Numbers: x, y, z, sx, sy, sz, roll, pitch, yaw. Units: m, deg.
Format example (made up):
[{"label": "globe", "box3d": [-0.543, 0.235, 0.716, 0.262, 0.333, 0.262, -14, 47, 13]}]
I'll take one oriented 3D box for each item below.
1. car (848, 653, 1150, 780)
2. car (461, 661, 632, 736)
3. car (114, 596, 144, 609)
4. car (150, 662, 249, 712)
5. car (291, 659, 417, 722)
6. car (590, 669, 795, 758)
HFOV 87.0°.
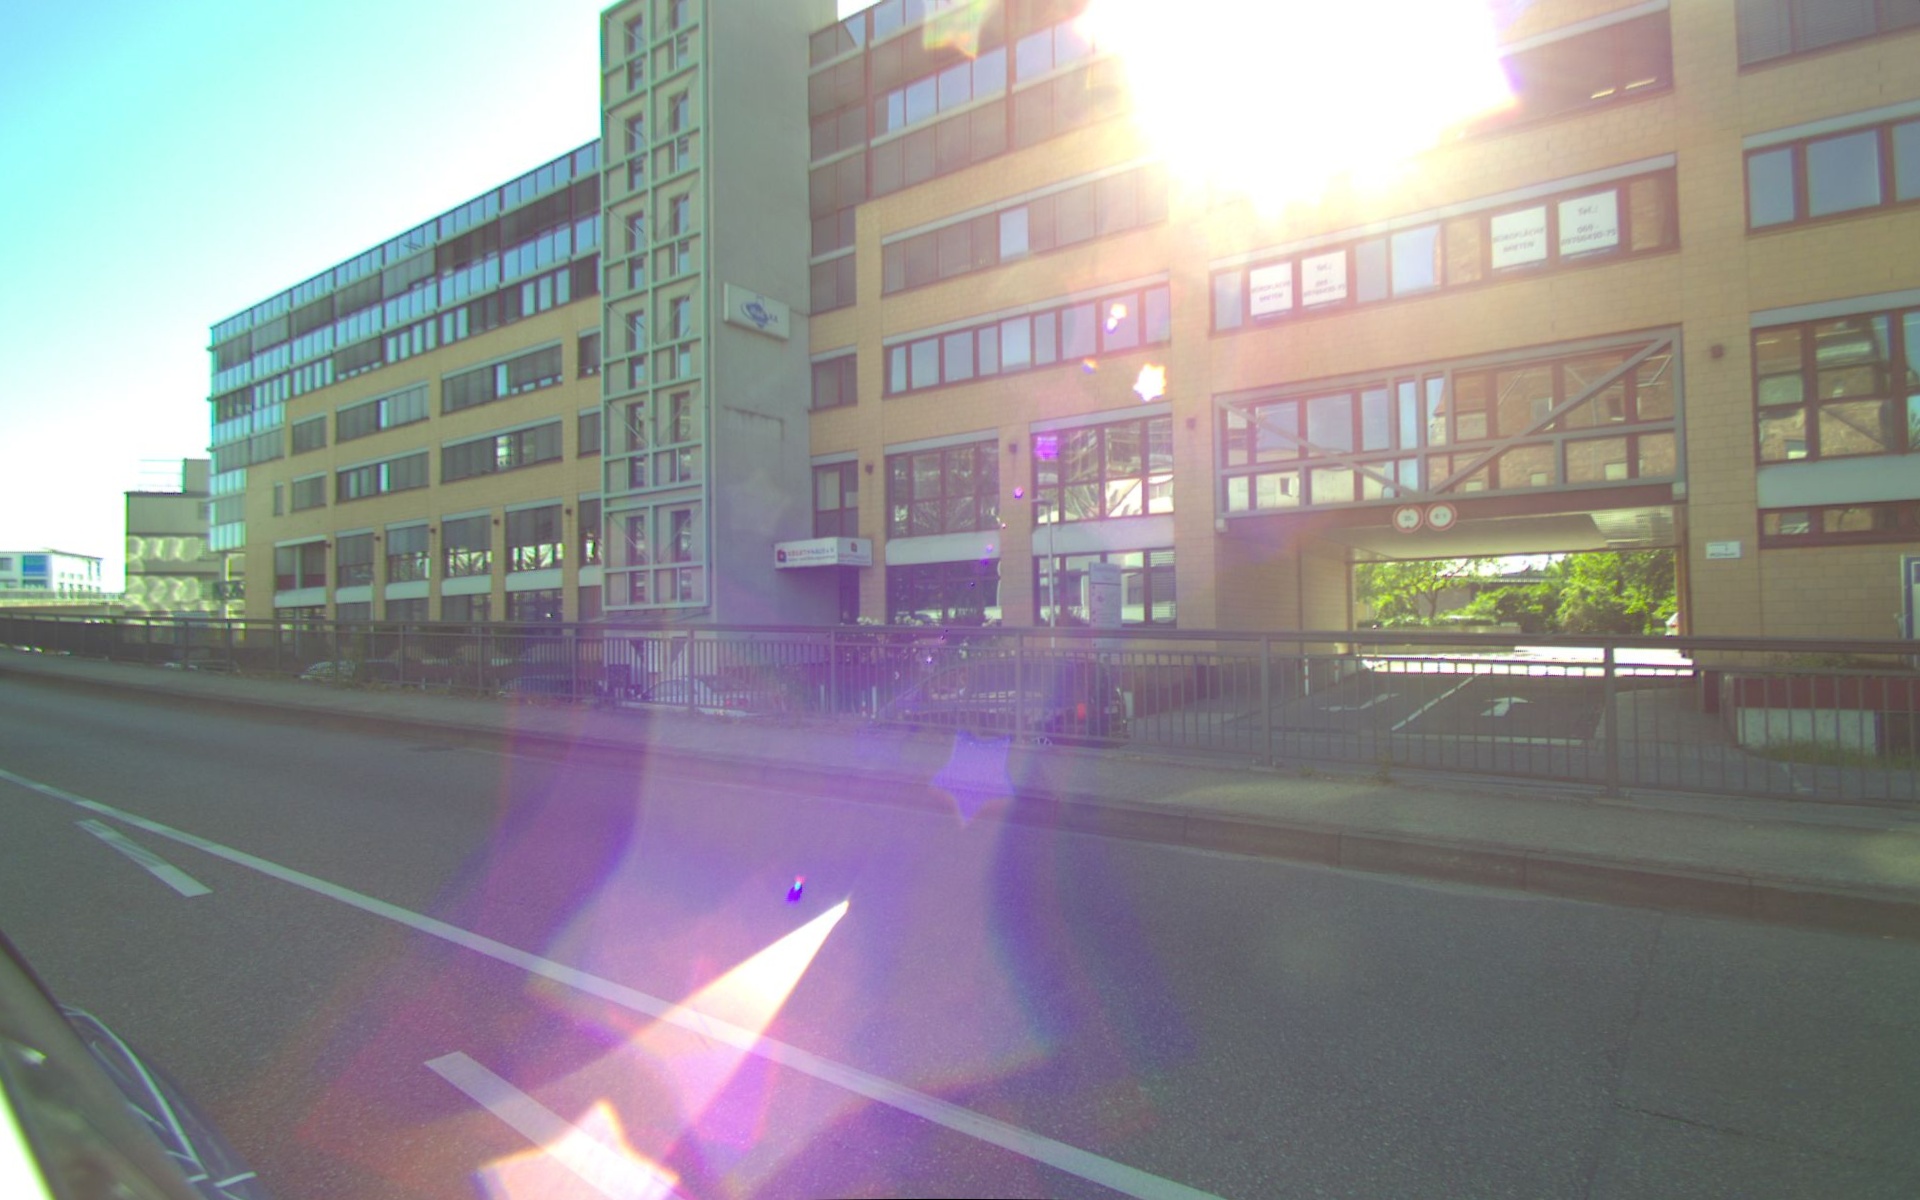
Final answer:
[{"label": "car", "box3d": [0.566, 1.807, 16.800, 4.675, 1.771, 1.934, -2, -2, 34]}, {"label": "car", "box3d": [-10.083, 2.325, 24.569, 4.347, 1.616, 1.804, -2, -3, 35]}, {"label": "car", "box3d": [-105.976, 0.303, 129.108, 1.794, 1.616, 4.013, 0, -1, -21]}, {"label": "car", "box3d": [-28.176, 3.169, 37.452, 3.994, 1.675, 1.974, -3, -3, 38]}, {"label": "car", "box3d": [-18.359, 2.682, 30.624, 3.994, 1.737, 1.974, -3, -3, 38]}, {"label": "car", "box3d": [-5.675, 2.298, 21.262, 4.347, 1.616, 1.804, -2, -3, 35]}]
